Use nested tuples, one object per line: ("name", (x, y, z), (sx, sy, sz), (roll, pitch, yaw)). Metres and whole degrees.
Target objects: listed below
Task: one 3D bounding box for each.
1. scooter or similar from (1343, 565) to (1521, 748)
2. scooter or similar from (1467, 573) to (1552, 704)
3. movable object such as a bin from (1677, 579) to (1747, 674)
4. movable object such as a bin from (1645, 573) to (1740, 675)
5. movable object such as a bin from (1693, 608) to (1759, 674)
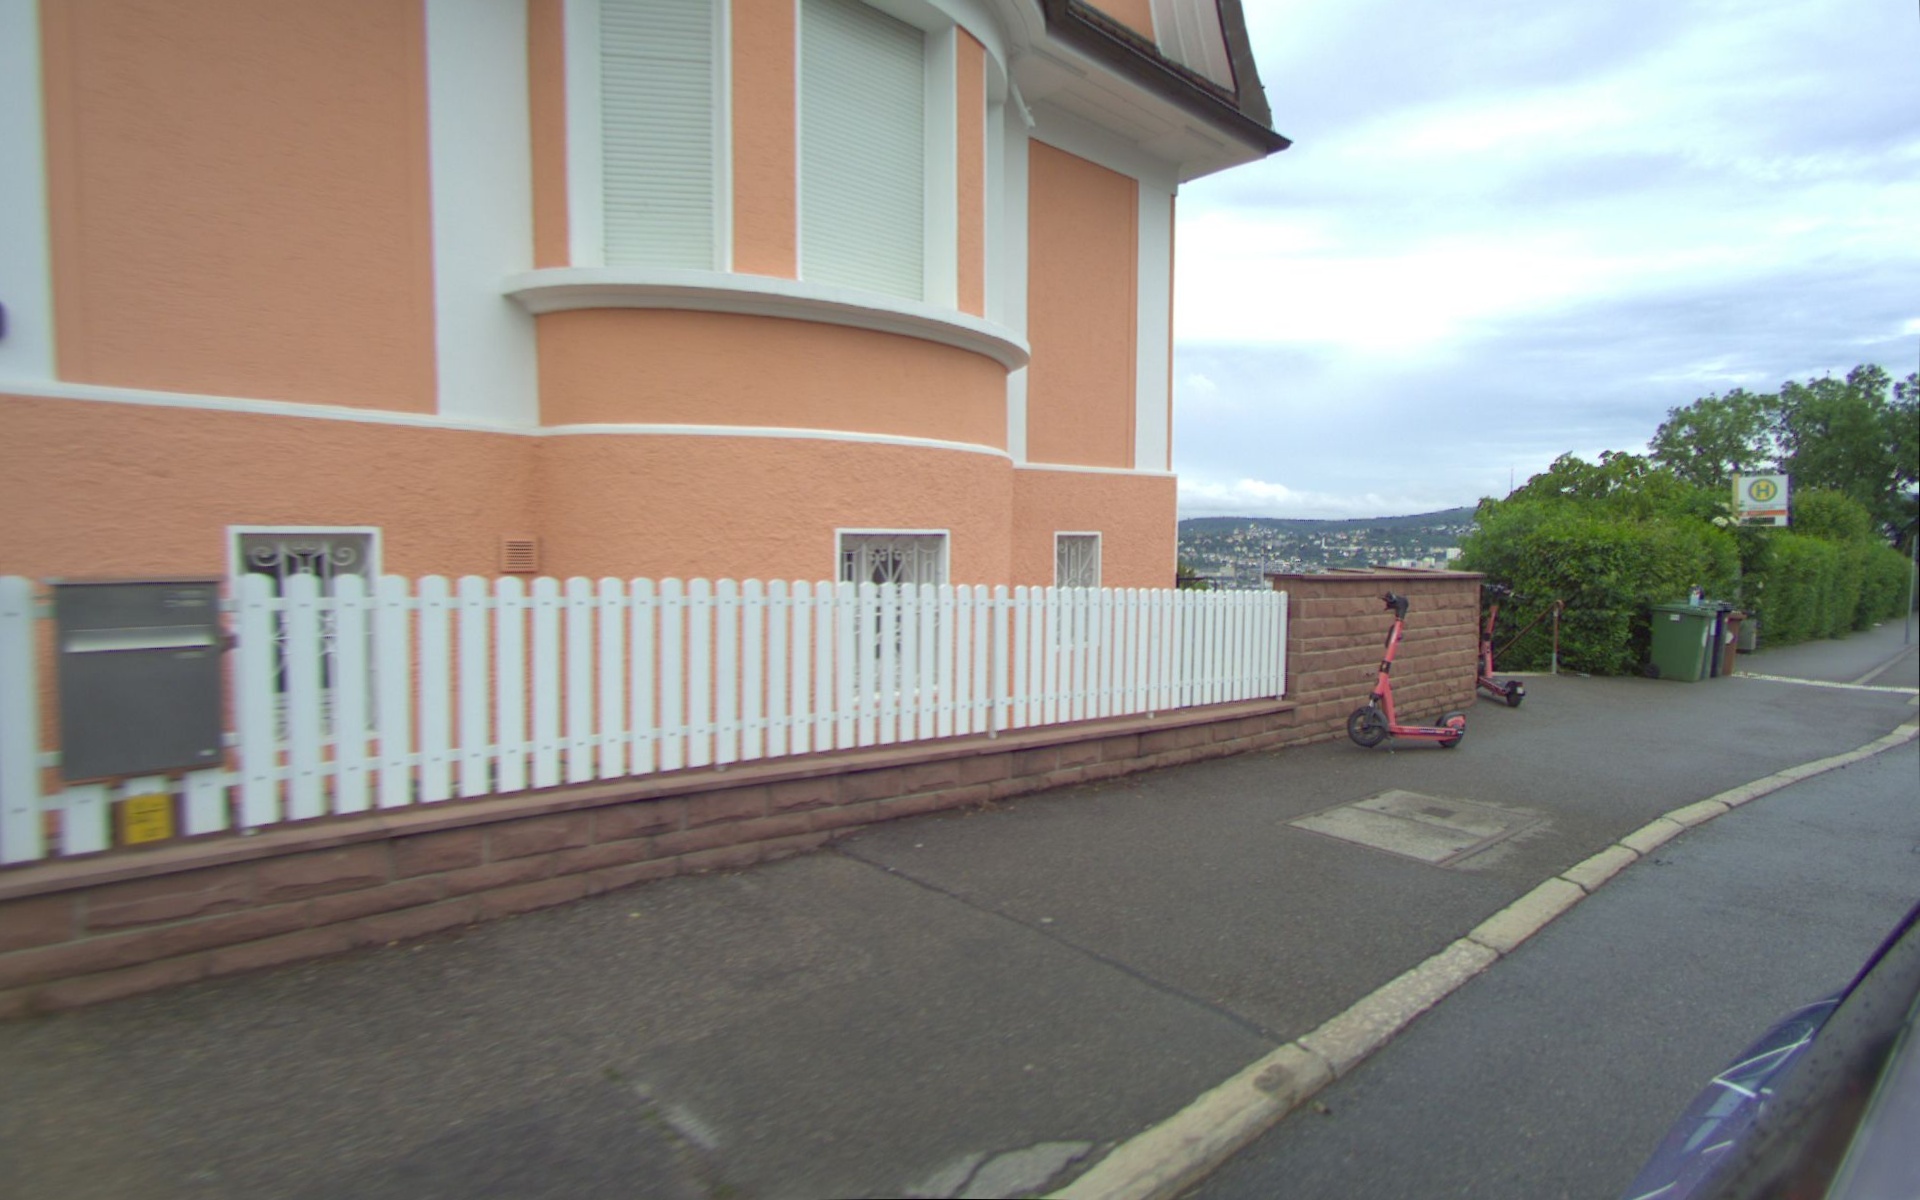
("scooter or similar", (3.853, 0.430, 8.254), (1.447, 1.420, 0.357), (0, 1, -19))
("scooter or similar", (5.947, 0.377, 11.004), (0.350, 1.287, 1.292), (1, 3, 8))
("movable object such as a bin", (10.355, 0.343, 13.938), (0.672, 1.261, 0.613), (-1, 2, -39))
("movable object such as a bin", (9.736, 0.293, 13.456), (0.900, 1.260, 0.727), (-1, 5, -40))
("movable object such as a bin", (10.860, 0.562, 14.350), (0.579, 0.874, 0.613), (-1, 2, -39))
